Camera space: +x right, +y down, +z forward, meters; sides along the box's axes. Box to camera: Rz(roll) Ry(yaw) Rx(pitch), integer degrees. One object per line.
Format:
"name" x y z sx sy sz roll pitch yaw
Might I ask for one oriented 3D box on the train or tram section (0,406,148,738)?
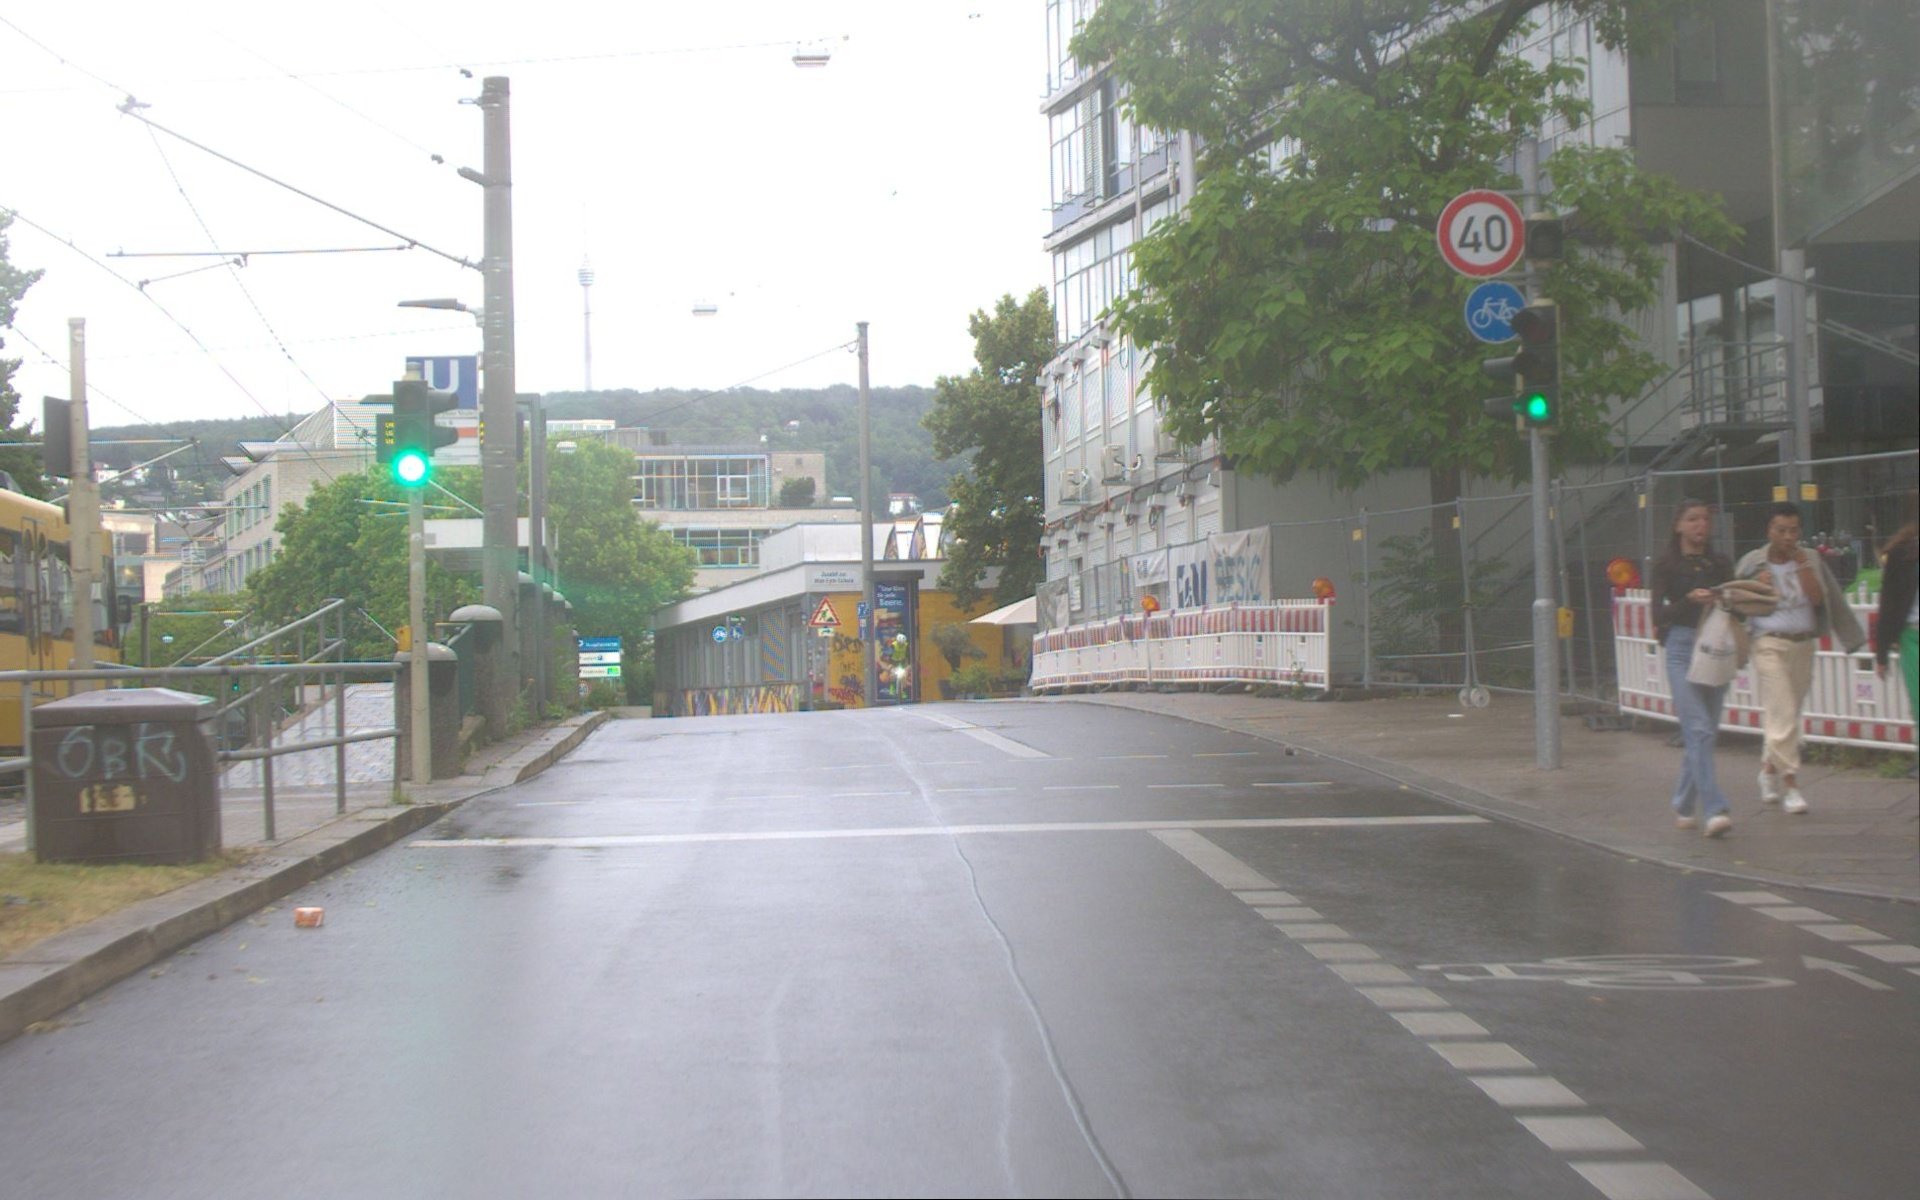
"train or tram section" -11.963 -0.294 37.266 2.746 3.684 18.972 -1 0 -3

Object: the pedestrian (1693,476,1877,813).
"pedestrian" 4.573 0.229 19.104 0.699 1.809 0.977 -1 1 -4

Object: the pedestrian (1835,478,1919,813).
"pedestrian" 5.329 0.225 18.837 0.699 1.779 1.067 -1 1 -4

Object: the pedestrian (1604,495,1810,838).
"pedestrian" 3.891 0.326 17.978 0.736 1.723 1.119 -1 1 -4
